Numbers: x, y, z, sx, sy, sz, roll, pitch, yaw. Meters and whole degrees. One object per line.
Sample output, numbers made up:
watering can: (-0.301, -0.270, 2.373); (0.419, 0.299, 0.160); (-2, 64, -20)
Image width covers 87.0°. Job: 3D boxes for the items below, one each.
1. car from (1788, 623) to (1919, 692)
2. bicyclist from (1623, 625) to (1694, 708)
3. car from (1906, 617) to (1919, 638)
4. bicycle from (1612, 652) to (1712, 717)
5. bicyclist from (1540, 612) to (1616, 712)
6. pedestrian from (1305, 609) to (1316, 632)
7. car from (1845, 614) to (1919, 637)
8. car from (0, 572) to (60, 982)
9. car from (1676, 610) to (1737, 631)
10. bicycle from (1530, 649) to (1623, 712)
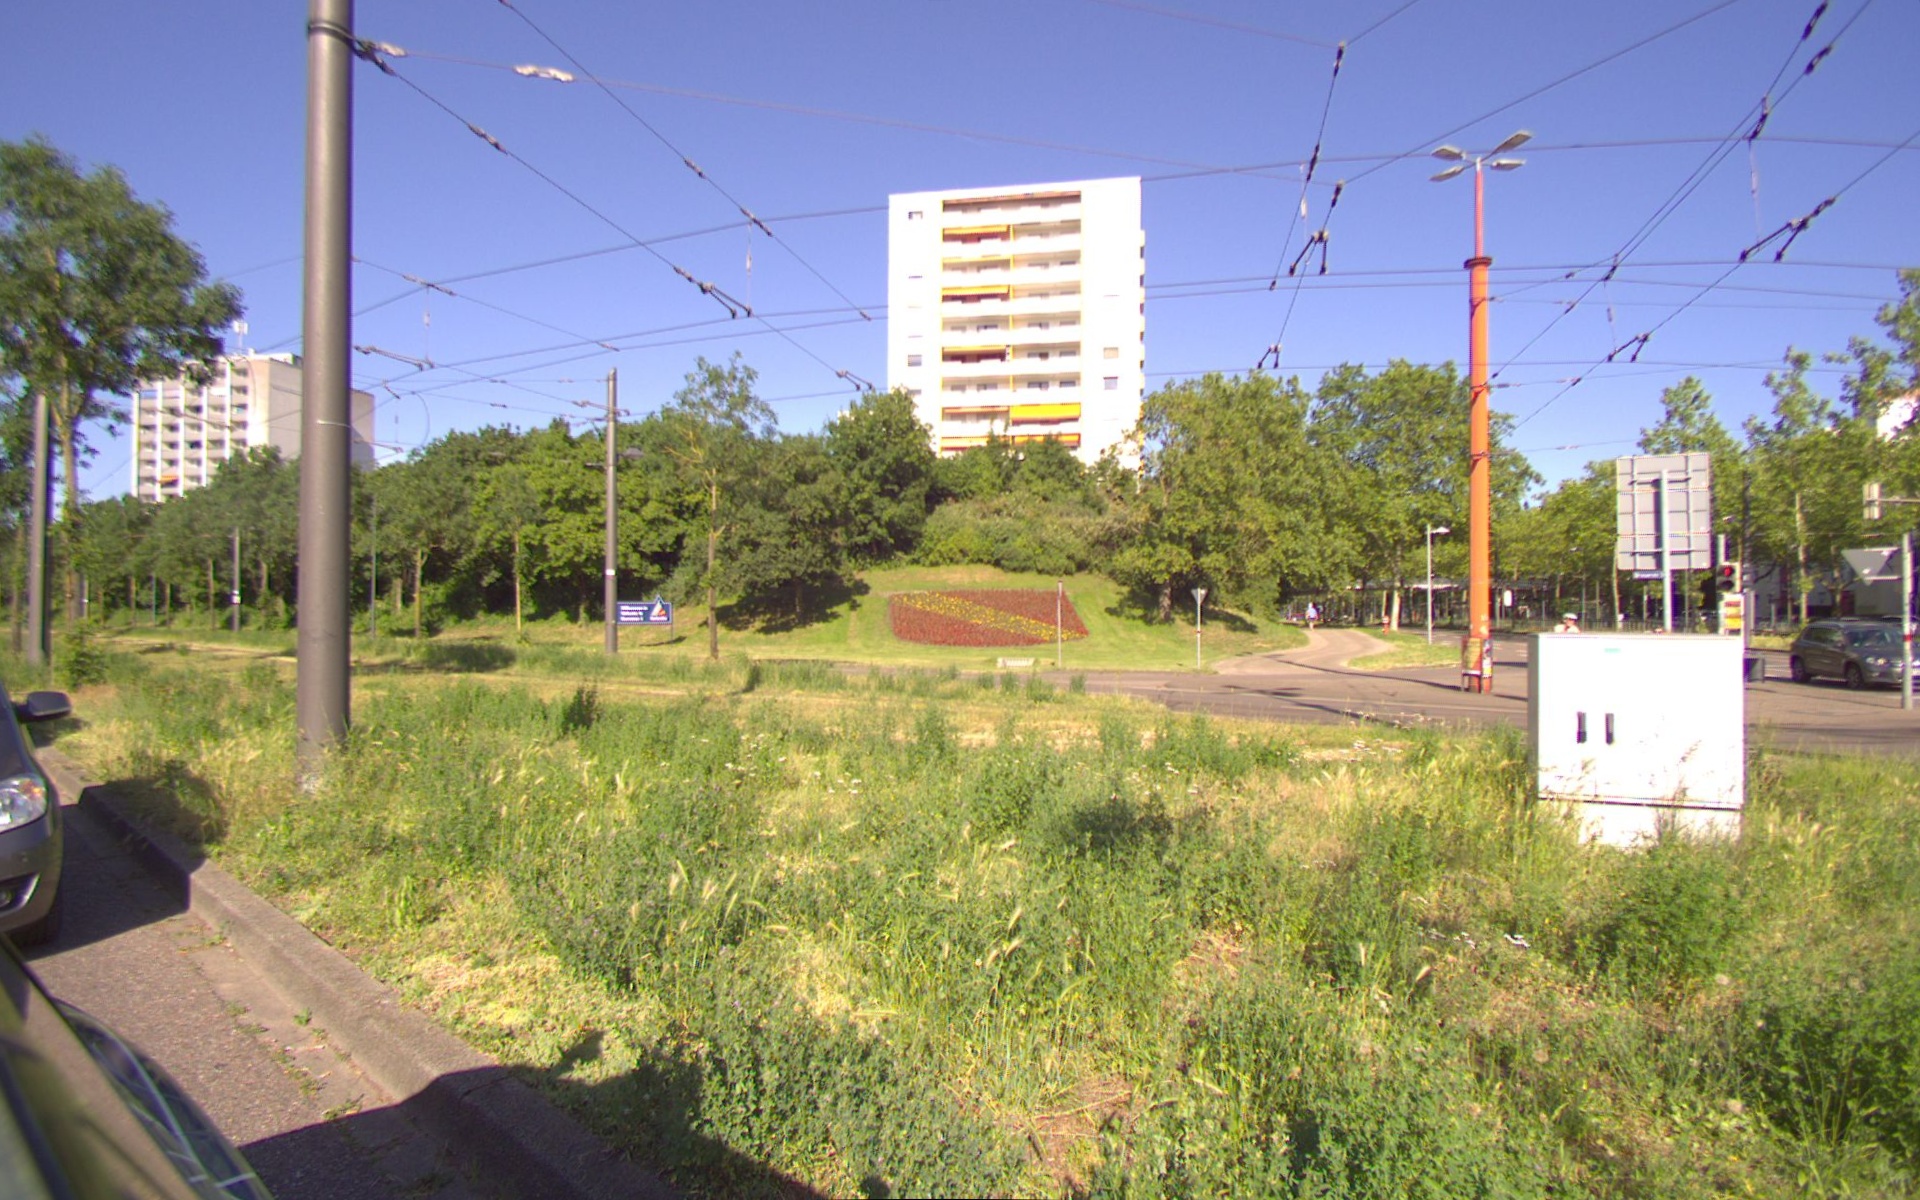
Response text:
car: (23.047, 1.381, 25.428); (1.900, 1.507, 4.026); (-1, 0, 15)
bicyclist: (13.492, 1.271, 19.581); (0.710, 1.536, 0.924); (-1, 0, 0)
car: (63.688, 1.789, 65.156); (1.472, 1.341, 3.746); (-1, 0, -27)
bicycle: (13.504, 1.601, 19.532); (0.571, 1.079, 1.916); (-1, 0, 0)
bicyclist: (12.115, 1.197, 19.867); (0.880, 1.881, 0.924); (-1, 0, -2)
pedestrian: (23.741, 1.398, 68.604); (0.682, 1.568, 0.984); (-1, 0, 21)
car: (63.803, 1.755, 69.988); (1.589, 1.471, 3.656); (-1, 0, -38)
car: (-5.824, 0.755, 4.885); (3.998, 1.652, 1.726); (-1, 0, 41)
car: (72.145, 1.954, 97.865); (1.909, 1.999, 4.350); (1, -2, -38)
bicycle: (12.069, 1.553, 19.884); (0.571, 1.079, 1.917); (-1, 0, -3)
